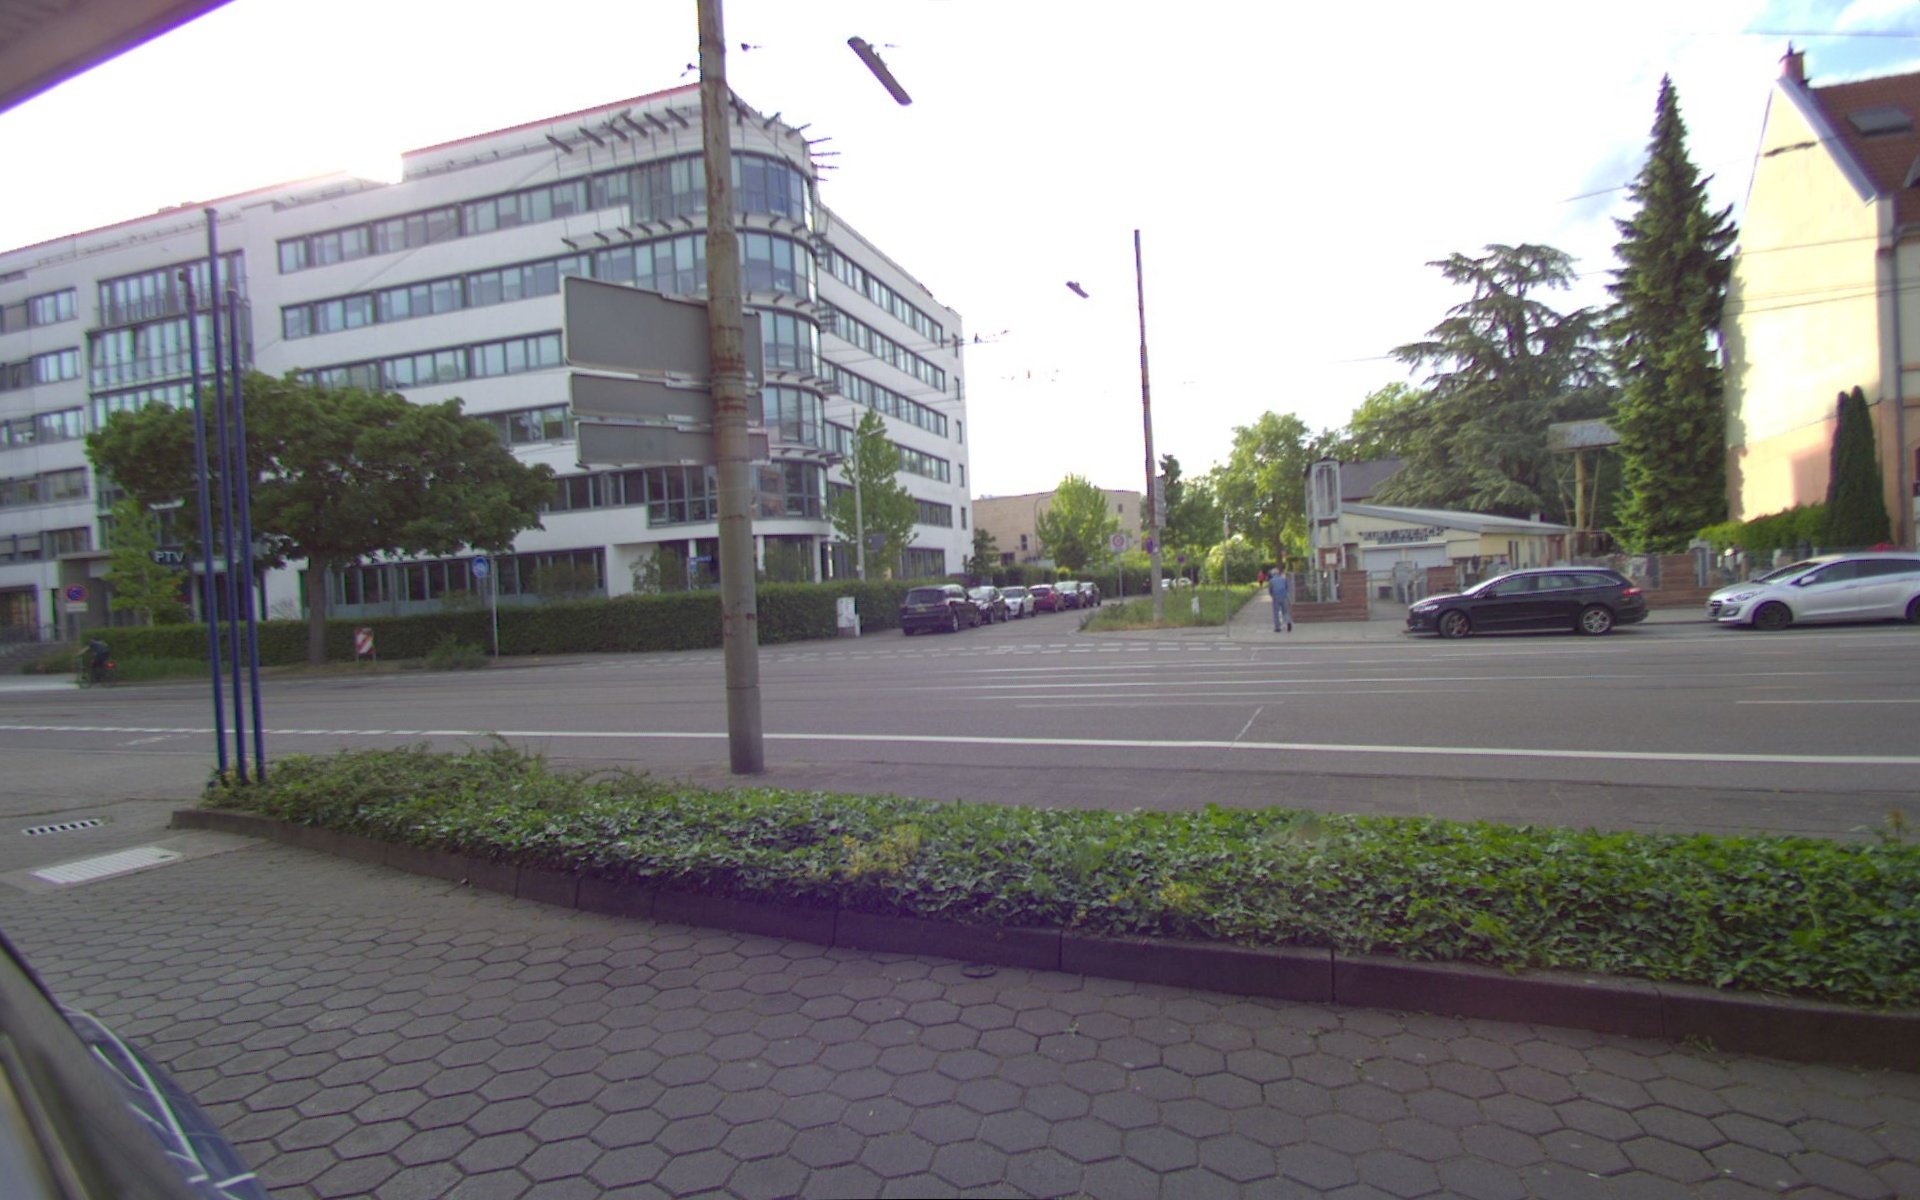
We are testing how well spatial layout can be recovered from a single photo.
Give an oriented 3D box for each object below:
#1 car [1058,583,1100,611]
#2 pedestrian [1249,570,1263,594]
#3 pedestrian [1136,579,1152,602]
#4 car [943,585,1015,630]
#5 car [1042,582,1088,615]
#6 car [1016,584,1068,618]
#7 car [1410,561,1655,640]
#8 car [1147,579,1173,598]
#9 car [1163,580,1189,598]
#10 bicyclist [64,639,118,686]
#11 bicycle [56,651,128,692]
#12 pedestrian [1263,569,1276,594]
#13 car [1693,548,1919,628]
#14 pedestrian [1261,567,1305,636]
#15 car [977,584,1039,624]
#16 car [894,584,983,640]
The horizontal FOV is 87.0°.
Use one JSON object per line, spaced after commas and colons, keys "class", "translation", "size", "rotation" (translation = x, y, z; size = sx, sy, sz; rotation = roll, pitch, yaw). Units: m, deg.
{"class": "car", "translation": [7.390, -0.215, 62.573], "size": [1.807, 1.585, 4.052], "rotation": [-4, 0, 16]}
{"class": "pedestrian", "translation": [23.206, -1.414, 79.377], "size": [0.965, 1.896, 1.056], "rotation": [-1, 0, 17]}
{"class": "pedestrian", "translation": [15.464, -0.820, 85.111], "size": [1.057, 1.896, 0.964], "rotation": [-1, 0, 28]}
{"class": "car", "translation": [0.837, 0.272, 40.983], "size": [1.807, 1.589, 4.175], "rotation": [-4, 0, 16]}
{"class": "car", "translation": [6.036, -0.137, 57.807], "size": [1.807, 1.704, 4.392], "rotation": [-4, 0, 16]}
{"class": "car", "translation": [4.306, 0.022, 52.409], "size": [1.807, 1.589, 4.175], "rotation": [-4, 0, 16]}
{"class": "car", "translation": [13.021, 0.011, 23.370], "size": [4.632, 1.533, 1.842], "rotation": [-3, 2, 22]}
{"class": "car", "translation": [19.959, -1.142, 100.910], "size": [1.811, 1.654, 4.044], "rotation": [-4, 0, 22]}
{"class": "car", "translation": [22.836, -1.163, 106.857], "size": [1.813, 1.654, 4.040], "rotation": [-4, 0, 25]}
{"class": "bicyclist", "translation": [-27.945, 2.007, 32.557], "size": [1.164, 1.462, 0.788], "rotation": [-1, 0, 13]}
{"class": "bicycle", "translation": [-27.920, 2.297, 32.563], "size": [1.863, 1.248, 0.788], "rotation": [-1, 0, 13]}
{"class": "pedestrian", "translation": [24.179, -1.426, 79.086], "size": [0.965, 1.896, 1.056], "rotation": [-1, 0, 17]}
{"class": "car", "translation": [18.415, -0.264, 21.400], "size": [4.349, 1.493, 1.732], "rotation": [-3, 1, 22]}
{"class": "pedestrian", "translation": [8.517, 0.030, 26.727], "size": [0.900, 1.712, 0.923], "rotation": [-3, 4, 10]}
{"class": "car", "translation": [2.230, 0.152, 45.687], "size": [1.807, 1.589, 4.175], "rotation": [-4, 0, 16]}
{"class": "car", "translation": [-0.680, 0.359, 35.567], "size": [1.807, 1.701, 4.370], "rotation": [-4, 1, 16]}
